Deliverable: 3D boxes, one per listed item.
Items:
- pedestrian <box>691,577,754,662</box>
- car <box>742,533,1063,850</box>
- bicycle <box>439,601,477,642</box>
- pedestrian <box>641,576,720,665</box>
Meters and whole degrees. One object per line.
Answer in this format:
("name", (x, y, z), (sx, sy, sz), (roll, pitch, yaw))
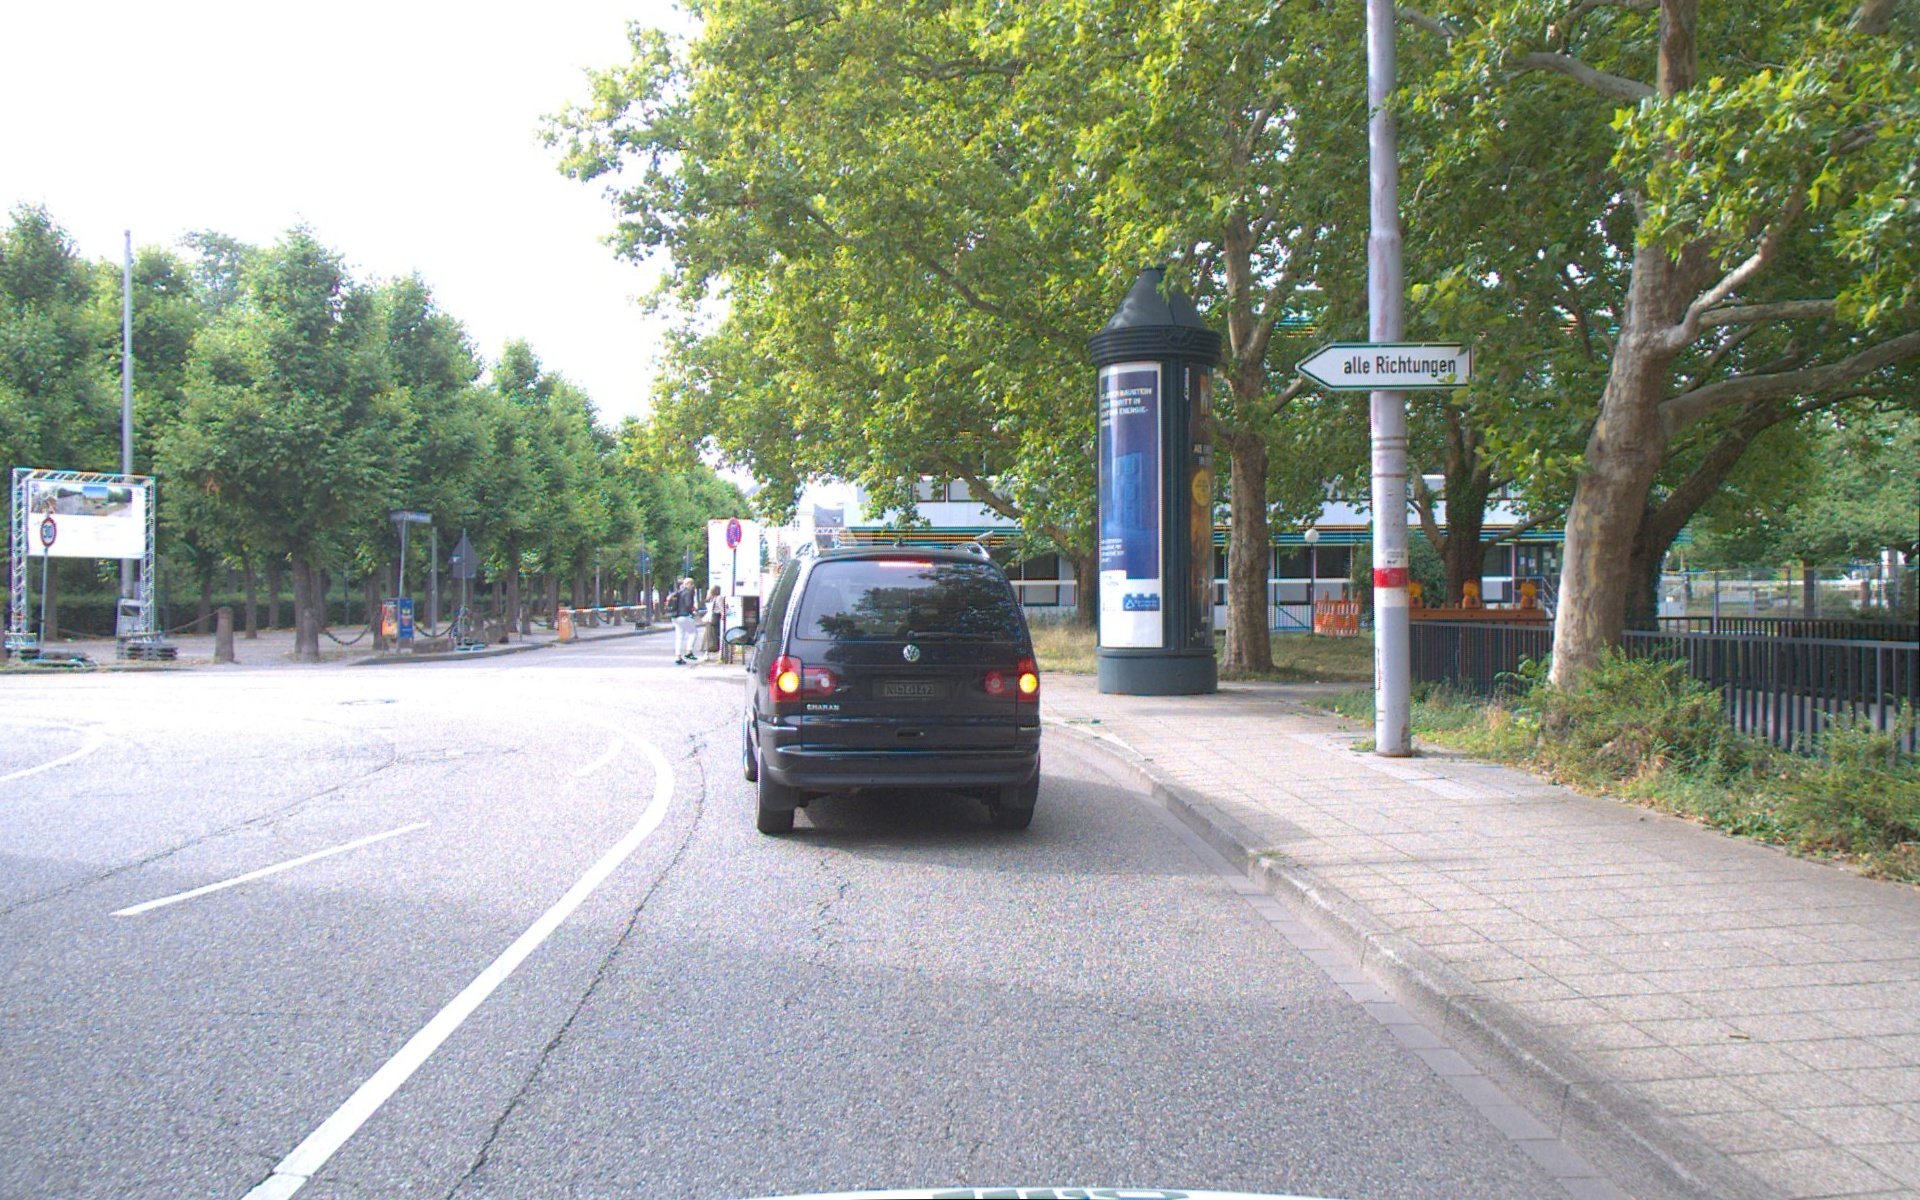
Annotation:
("pedestrian", (-4.790, 0.384, 33.384), (0.880, 1.670, 0.850), (1, 0, 33))
("car", (-0.578, 0.486, 11.315), (1.760, 1.738, 4.123), (-1, 0, -8))
("bicycle", (-14.696, 0.608, 48.378), (0.938, 1.129, 2.565), (1, 0, -19))
("pedestrian", (-5.671, 0.406, 33.611), (0.944, 1.772, 1.251), (1, 0, 36))
